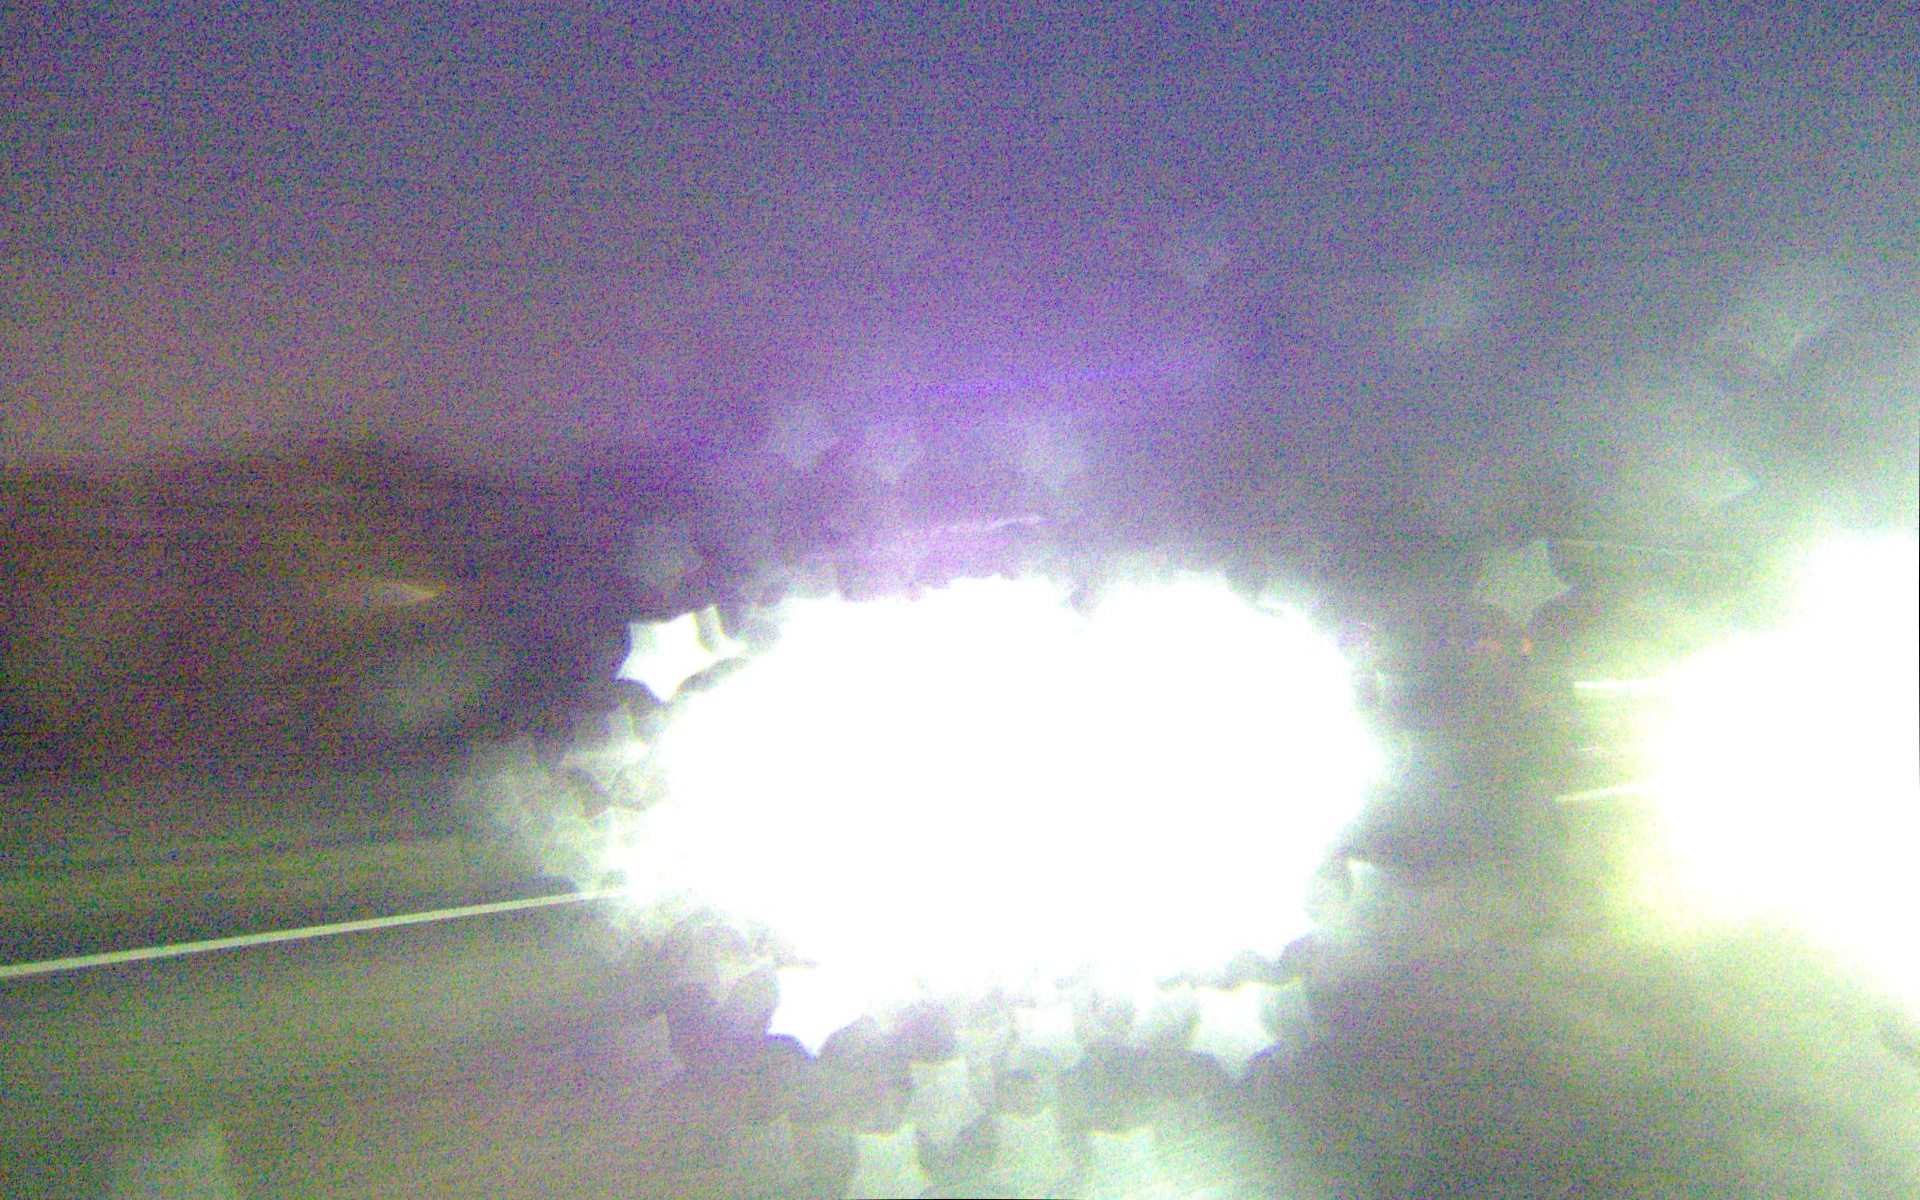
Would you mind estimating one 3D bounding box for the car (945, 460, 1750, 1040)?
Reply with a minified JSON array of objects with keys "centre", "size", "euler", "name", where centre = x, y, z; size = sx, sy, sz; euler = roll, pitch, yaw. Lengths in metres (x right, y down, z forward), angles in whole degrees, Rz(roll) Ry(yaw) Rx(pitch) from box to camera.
[{"centre":[2.085,0.586,5.172],"size":[3.953,1.953,1.795],"euler":[2,-2,-30],"name":"car"}]
